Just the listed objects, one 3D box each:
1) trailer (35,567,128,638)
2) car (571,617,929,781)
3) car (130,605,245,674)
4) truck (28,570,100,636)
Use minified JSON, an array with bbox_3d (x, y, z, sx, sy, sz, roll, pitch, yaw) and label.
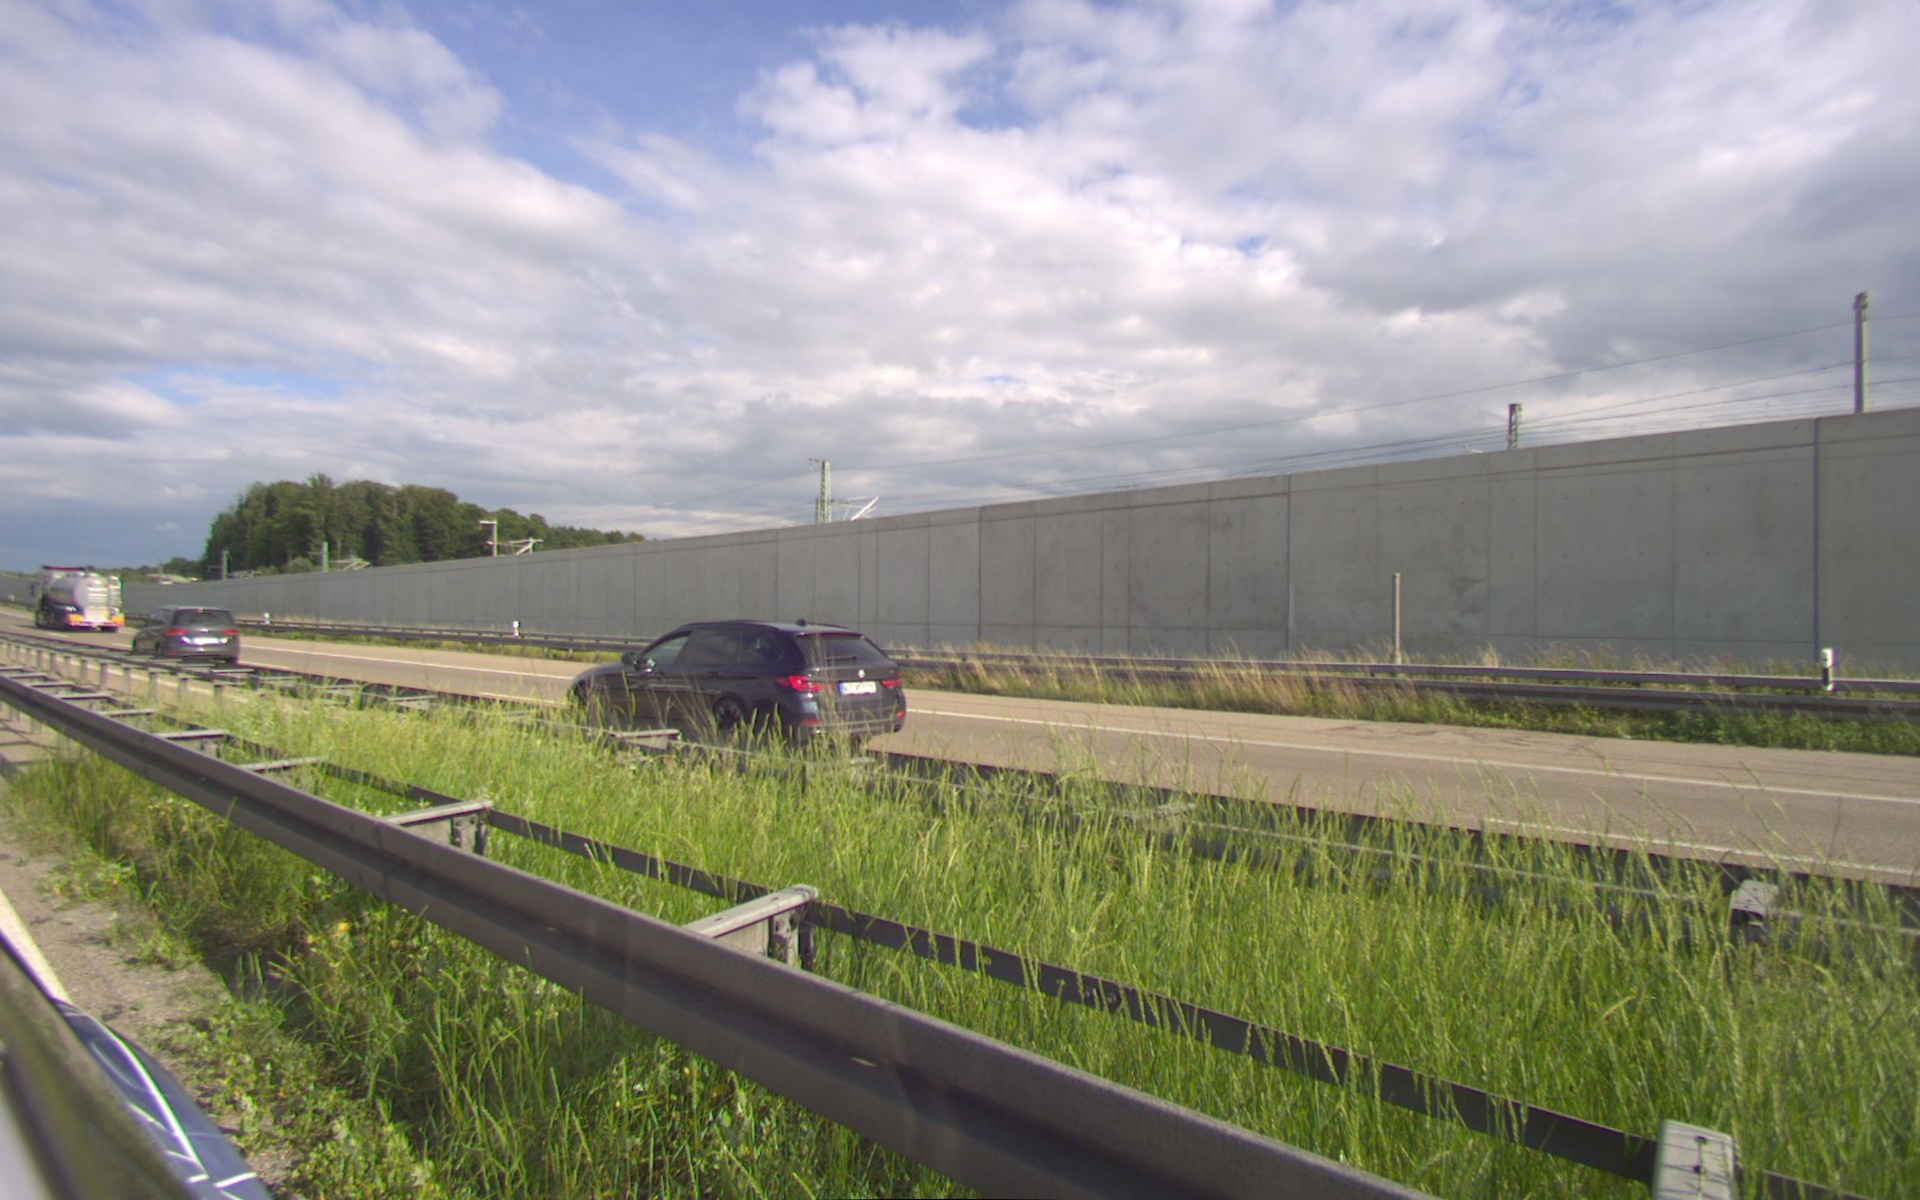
[{"bbox_3d":[-52.212,0.218,60.020,10.858,3.931,2.561,-1,-2,41],"label":"trailer"},{"bbox_3d":[-2.548,0.964,11.590,4.424,1.510,1.680,-1,-1,41],"label":"car"},{"bbox_3d":[-21.408,1.038,27.991,4.100,1.750,1.762,-1,-1,41],"label":"car"},{"bbox_3d":[-56.287,0.223,63.544,5.719,3.953,2.555,-1,-2,41],"label":"truck"}]
